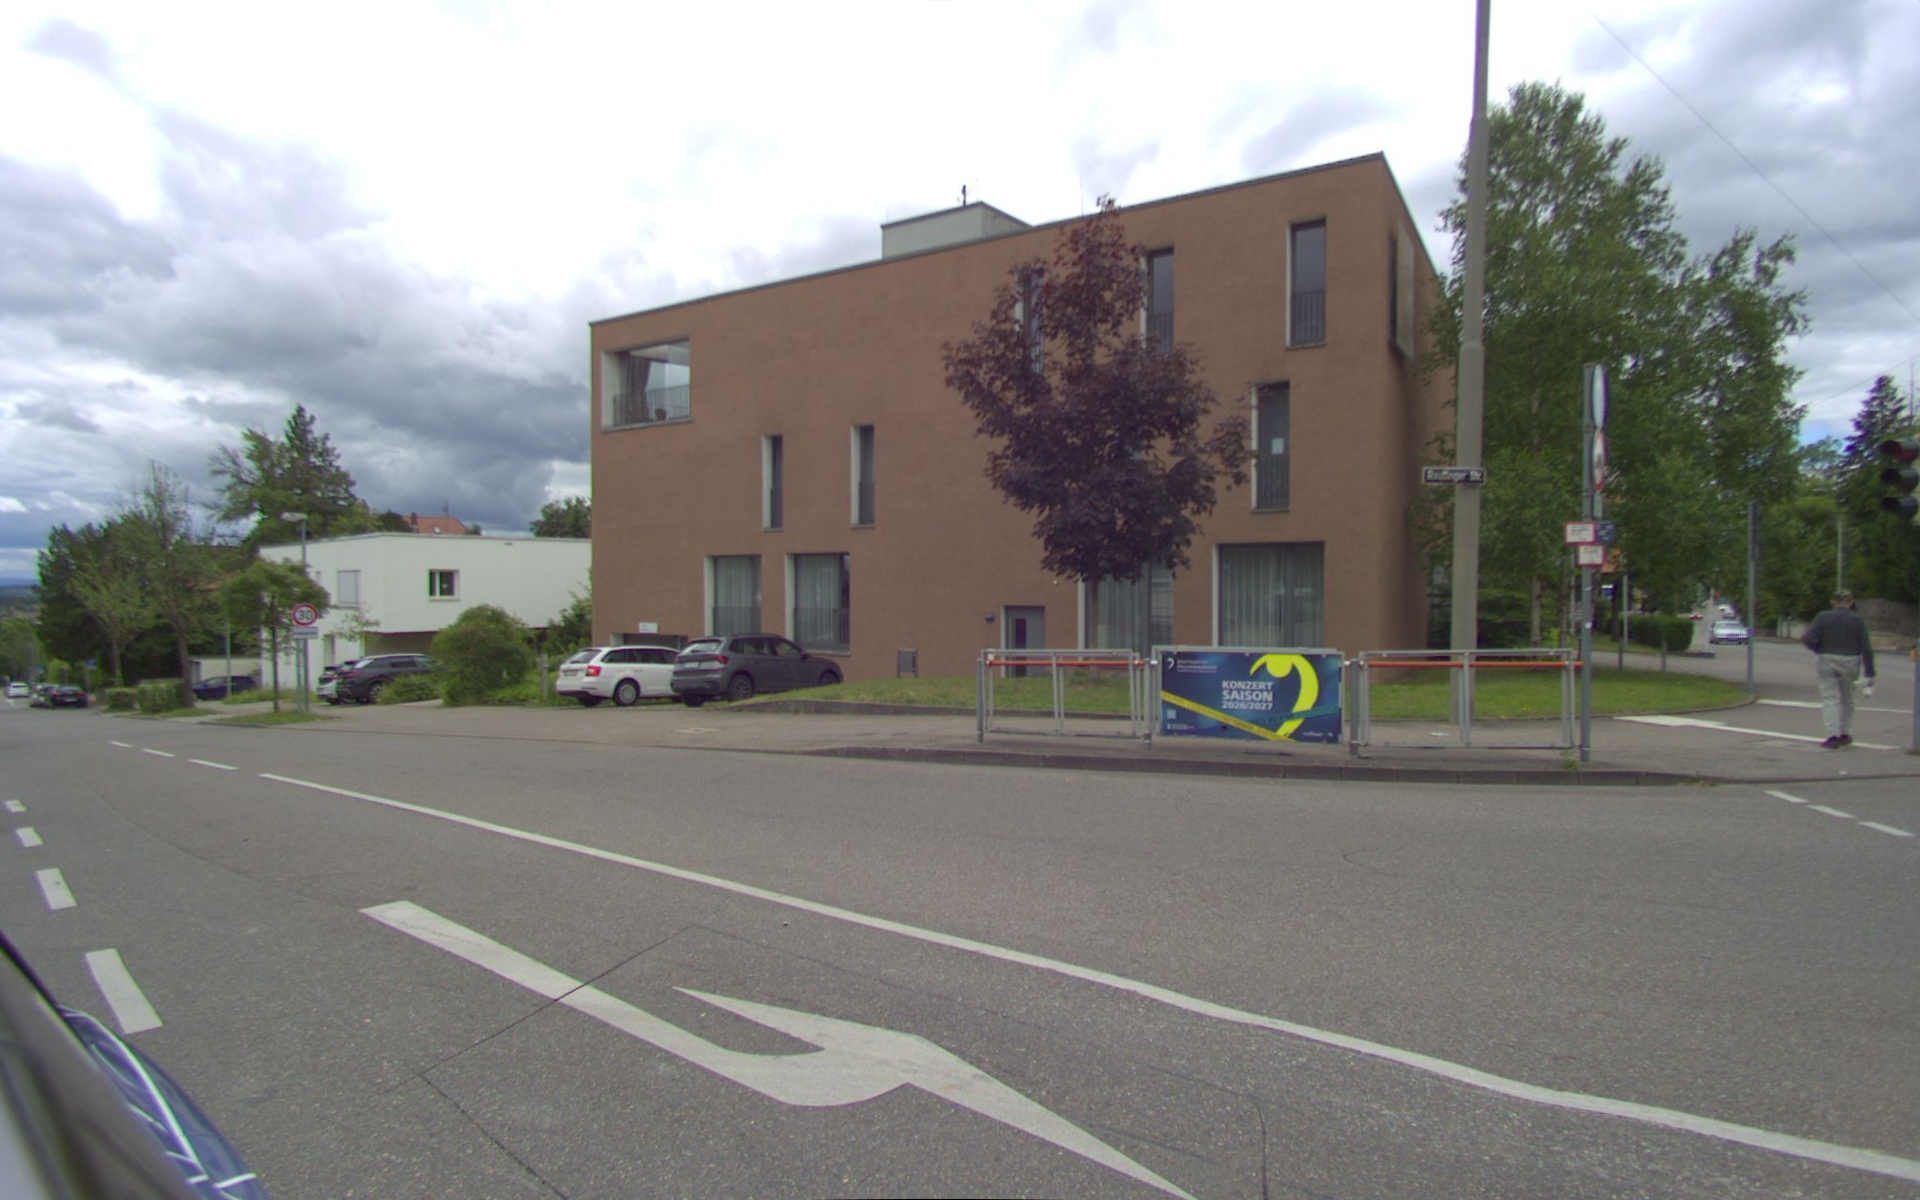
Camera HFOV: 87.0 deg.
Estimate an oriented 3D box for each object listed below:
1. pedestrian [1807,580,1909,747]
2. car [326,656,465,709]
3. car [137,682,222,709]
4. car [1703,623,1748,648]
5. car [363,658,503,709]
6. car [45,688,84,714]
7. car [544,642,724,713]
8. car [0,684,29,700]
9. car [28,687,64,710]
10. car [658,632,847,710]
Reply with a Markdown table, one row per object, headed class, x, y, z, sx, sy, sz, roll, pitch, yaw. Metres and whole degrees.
| class | x | y | z | sx | sy | sz | roll | pitch | yaw |
| --- | --- | --- | --- | --- | --- | --- | --- | --- | --- |
| pedestrian | 9.290 | 0.639 | 10.473 | 0.729 | 1.646 | 0.684 | 1 | -3 | -44 |
| car | -19.982 | 2.899 | 35.931 | 1.793 | 1.608 | 3.943 | -6 | -4 | 43 |
| car | -46.978 | 5.738 | 60.931 | 3.939 | 1.296 | 1.665 | 0 | -4 | -43 |
| car | 47.425 | 2.194 | 62.742 | 1.703 | 1.424 | 4.379 | -2 | -1 | 31 |
| car | -18.239 | 2.878 | 35.145 | 1.727 | 1.497 | 3.943 | -6 | -4 | 43 |
| car | -54.941 | 6.170 | 62.066 | 1.638 | 1.432 | 4.003 | 0 | -4 | -44 |
| car | -8.003 | 1.883 | 25.116 | 1.724 | 1.497 | 3.950 | -5 | -4 | 37 |
| car | -95.912 | 9.299 | 102.352 | 4.362 | 1.432 | 1.861 | -3 | -3 | 38 |
| car | -61.563 | 6.629 | 68.145 | 1.638 | 1.432 | 4.371 | 0 | -4 | -44 |
| car | -4.532 | 1.530 | 22.536 | 1.724 | 1.497 | 3.950 | -5 | -4 | 37 |
